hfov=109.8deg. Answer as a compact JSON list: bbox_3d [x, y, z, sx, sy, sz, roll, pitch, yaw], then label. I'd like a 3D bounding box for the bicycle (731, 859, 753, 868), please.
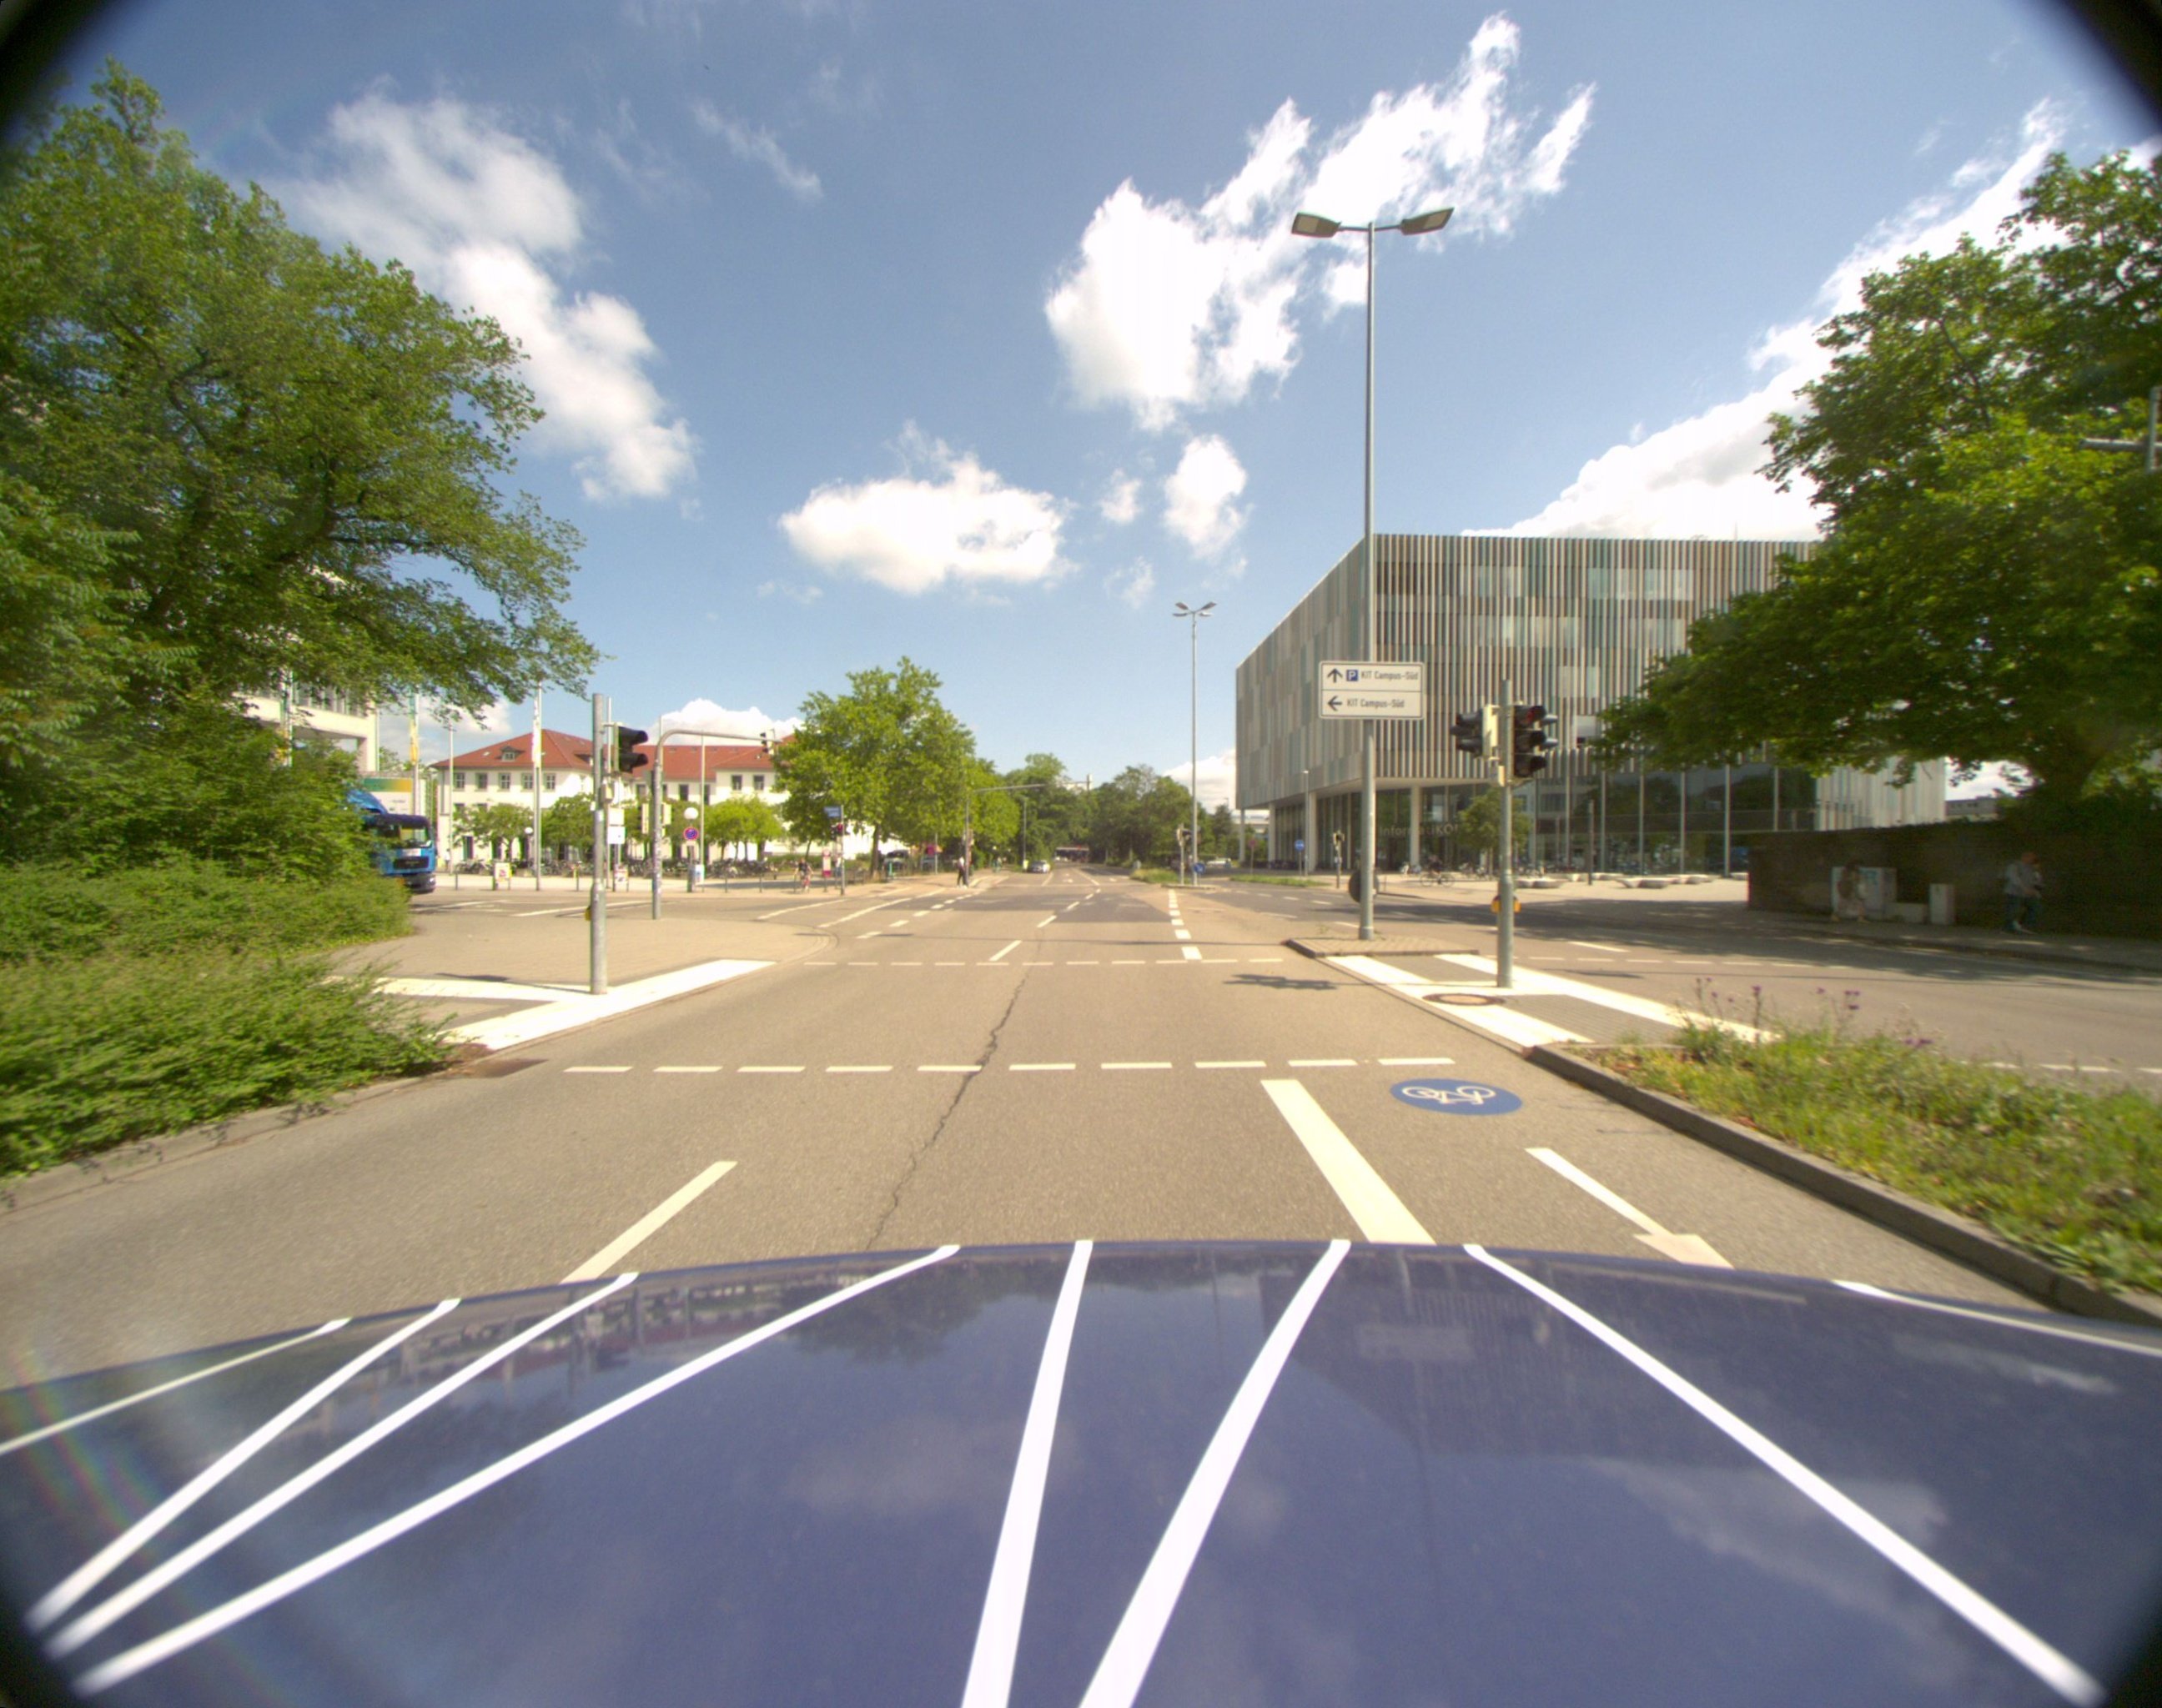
[{"bbox_3d":[-30.080,0.813,67.389,1.673,0.785,0.626,0,0,-6],"label":"bicycle"}]

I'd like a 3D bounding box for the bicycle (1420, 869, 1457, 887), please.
[{"bbox_3d":[19.332,1.290,41.106,1.770,0.887,0.639,0,0,33],"label":"bicycle"}]

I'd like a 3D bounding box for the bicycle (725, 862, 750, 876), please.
[{"bbox_3d":[-26.695,1.139,59.109,1.673,1.090,0.626,0,0,-6],"label":"bicycle"}]

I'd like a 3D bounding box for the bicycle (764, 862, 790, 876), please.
[{"bbox_3d":[-23.285,1.124,58.203,1.673,1.029,0.626,0,0,-6],"label":"bicycle"}]

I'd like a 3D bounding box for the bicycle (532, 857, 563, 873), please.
[{"bbox_3d":[-37.281,0.787,53.114,1.673,1.090,0.626,0,0,-6],"label":"bicycle"}]

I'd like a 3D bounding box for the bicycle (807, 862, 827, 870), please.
[{"bbox_3d":[-24.623,1.143,70.867,1.673,0.729,0.626,0,0,-6],"label":"bicycle"}]

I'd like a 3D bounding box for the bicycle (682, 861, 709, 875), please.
[{"bbox_3d":[-29.466,1.058,58.096,1.673,1.090,0.626,0,0,-6],"label":"bicycle"}]

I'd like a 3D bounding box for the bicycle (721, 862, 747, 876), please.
[{"bbox_3d":[-26.629,1.163,58.373,1.673,1.090,0.626,0,0,-6],"label":"bicycle"}]

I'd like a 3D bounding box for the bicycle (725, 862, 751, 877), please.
[{"bbox_3d":[-26.040,1.164,57.688,1.673,1.090,0.626,0,0,-6],"label":"bicycle"}]

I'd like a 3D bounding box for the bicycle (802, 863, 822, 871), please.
[{"bbox_3d":[-24.820,1.168,70.128,1.673,0.729,0.626,0,0,-6],"label":"bicycle"}]

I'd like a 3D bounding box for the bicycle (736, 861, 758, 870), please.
[{"bbox_3d":[-30.209,1.024,68.723,1.673,0.785,0.626,0,0,-6],"label":"bicycle"}]

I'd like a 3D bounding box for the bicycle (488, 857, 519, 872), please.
[{"bbox_3d":[-41.203,0.727,54.188,1.673,1.090,0.626,0,0,-6],"label":"bicycle"}]

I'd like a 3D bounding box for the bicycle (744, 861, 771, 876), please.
[{"bbox_3d":[-23.454,1.038,55.125,1.673,1.090,0.626,0,0,-6],"label":"bicycle"}]

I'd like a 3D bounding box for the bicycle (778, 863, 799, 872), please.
[{"bbox_3d":[-26.409,1.207,68.671,1.673,0.785,0.626,0,0,-7],"label":"bicycle"}]

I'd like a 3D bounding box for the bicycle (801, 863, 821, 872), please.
[{"bbox_3d":[-24.608,1.233,69.253,1.673,0.729,0.626,0,0,-6],"label":"bicycle"}]

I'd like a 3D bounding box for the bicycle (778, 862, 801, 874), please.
[{"bbox_3d":[-23.874,1.151,62.284,1.673,1.022,0.626,0,0,-6],"label":"bicycle"}]

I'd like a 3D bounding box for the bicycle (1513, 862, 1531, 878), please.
[{"bbox_3d":[31.090,1.112,53.508,0.745,1.131,2.323,0,0,39],"label":"bicycle"}]

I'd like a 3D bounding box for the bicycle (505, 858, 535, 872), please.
[{"bbox_3d":[-41.398,0.808,56.083,1.673,1.090,0.626,0,0,-6],"label":"bicycle"}]

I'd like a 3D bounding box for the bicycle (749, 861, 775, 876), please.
[{"bbox_3d":[-23.597,1.059,56.182,1.673,1.090,0.626,0,0,-6],"label":"bicycle"}]

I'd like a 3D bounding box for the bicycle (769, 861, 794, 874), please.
[{"bbox_3d":[-23.229,1.067,58.923,1.673,0.979,0.626,0,0,-6],"label":"bicycle"}]

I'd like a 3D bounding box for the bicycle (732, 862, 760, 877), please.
[{"bbox_3d":[-23.362,1.081,53.013,1.673,1.090,0.626,0,0,-6],"label":"bicycle"}]

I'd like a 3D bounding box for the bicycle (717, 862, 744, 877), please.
[{"bbox_3d":[-25.847,1.124,56.072,1.673,1.090,0.626,0,0,-6],"label":"bicycle"}]

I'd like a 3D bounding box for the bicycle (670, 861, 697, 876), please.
[{"bbox_3d":[-29.438,1.049,56.316,1.673,1.090,0.626,0,0,-6],"label":"bicycle"}]

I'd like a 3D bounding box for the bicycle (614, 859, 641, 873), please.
[{"bbox_3d":[-35.815,0.976,60.001,1.673,1.090,0.626,0,0,-6],"label":"bicycle"}]

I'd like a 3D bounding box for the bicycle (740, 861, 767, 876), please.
[{"bbox_3d":[-23.413,1.024,54.350,1.673,1.090,0.626,0,0,-6],"label":"bicycle"}]

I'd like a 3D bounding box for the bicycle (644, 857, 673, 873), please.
[{"bbox_3d":[-29.742,0.781,53.501,1.673,1.090,0.626,0,0,-6],"label":"bicycle"}]

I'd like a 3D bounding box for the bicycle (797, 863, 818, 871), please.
[{"bbox_3d":[-24.575,1.180,68.194,1.673,0.729,0.626,0,0,-6],"label":"bicycle"}]

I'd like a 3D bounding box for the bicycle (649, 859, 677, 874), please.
[{"bbox_3d":[-29.781,0.902,54.139,1.673,1.090,0.626,0,0,-6],"label":"bicycle"}]

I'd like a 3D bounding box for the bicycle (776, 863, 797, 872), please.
[{"bbox_3d":[-26.350,1.209,67.982,1.673,0.785,0.626,0,0,-7],"label":"bicycle"}]

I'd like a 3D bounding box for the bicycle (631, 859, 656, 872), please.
[{"bbox_3d":[-36.519,0.957,63.464,1.673,1.090,0.626,0,0,-6],"label":"bicycle"}]

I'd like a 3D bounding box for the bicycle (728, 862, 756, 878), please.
[{"bbox_3d":[-23.357,1.120,52.358,1.673,1.090,0.626,0,0,-6],"label":"bicycle"}]

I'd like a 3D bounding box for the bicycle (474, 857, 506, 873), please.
[{"bbox_3d":[-41.018,0.773,52.776,1.673,1.090,0.626,0,0,-6],"label":"bicycle"}]

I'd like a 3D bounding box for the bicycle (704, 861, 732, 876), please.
[{"bbox_3d":[-25.691,1.013,53.828,1.673,1.090,0.626,0,0,-6],"label":"bicycle"}]

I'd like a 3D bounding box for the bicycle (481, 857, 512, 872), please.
[{"bbox_3d":[-41.131,0.730,53.467,1.673,1.090,0.626,0,0,-6],"label":"bicycle"}]

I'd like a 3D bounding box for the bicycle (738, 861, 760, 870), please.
[{"bbox_3d":[-30.355,1.045,69.485,1.673,0.785,0.626,0,0,-6],"label":"bicycle"}]

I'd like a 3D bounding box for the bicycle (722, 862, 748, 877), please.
[{"bbox_3d":[-25.960,1.157,56.992,1.673,1.090,0.626,0,0,-6],"label":"bicycle"}]

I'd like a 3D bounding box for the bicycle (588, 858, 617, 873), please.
[{"bbox_3d":[-35.531,0.835,56.408,1.673,1.090,0.626,0,0,-6],"label":"bicycle"}]

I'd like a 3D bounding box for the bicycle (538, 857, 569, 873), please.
[{"bbox_3d":[-37.362,0.768,53.809,1.673,1.090,0.626,0,0,-6],"label":"bicycle"}]

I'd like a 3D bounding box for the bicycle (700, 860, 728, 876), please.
[{"bbox_3d":[-25.601,0.996,53.044,1.673,1.090,0.626,0,0,-6],"label":"bicycle"}]

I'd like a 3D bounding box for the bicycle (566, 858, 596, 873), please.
[{"bbox_3d":[-35.622,0.818,54.153,1.673,1.090,0.626,0,0,-6],"label":"bicycle"}]

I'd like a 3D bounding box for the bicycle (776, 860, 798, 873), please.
[{"bbox_3d":[-25.783,1.075,66.670,1.673,1.090,0.626,0,0,-6],"label":"bicycle"}]

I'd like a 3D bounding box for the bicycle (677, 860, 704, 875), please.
[{"bbox_3d":[-29.442,1.010,57.330,1.673,1.090,0.626,0,0,-6],"label":"bicycle"}]

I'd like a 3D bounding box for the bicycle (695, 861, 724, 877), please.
[{"bbox_3d":[-25.566,1.000,52.330,1.673,1.090,0.626,0,0,-6],"label":"bicycle"}]

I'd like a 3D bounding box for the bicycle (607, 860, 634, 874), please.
[{"bbox_3d":[-35.625,0.995,58.805,1.673,1.090,0.626,0,0,-6],"label":"bicycle"}]

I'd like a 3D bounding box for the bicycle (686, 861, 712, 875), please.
[{"bbox_3d":[-29.592,1.066,58.911,1.673,1.090,0.626,0,0,-6],"label":"bicycle"}]

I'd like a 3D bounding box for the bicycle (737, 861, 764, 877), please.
[{"bbox_3d":[-23.343,1.072,53.680,1.673,1.090,0.626,0,0,-6],"label":"bicycle"}]

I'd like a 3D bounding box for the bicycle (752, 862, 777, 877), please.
[{"bbox_3d":[-23.680,1.171,56.858,1.673,1.090,0.626,0,0,-6],"label":"bicycle"}]

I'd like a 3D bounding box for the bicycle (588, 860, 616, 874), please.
[{"bbox_3d":[-35.995,0.973,57.118,1.673,1.090,0.626,0,0,-6],"label":"bicycle"}]

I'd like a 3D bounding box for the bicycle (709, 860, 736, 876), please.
[{"bbox_3d":[-25.740,1.009,54.544,1.673,1.090,0.626,0,0,-6],"label":"bicycle"}]

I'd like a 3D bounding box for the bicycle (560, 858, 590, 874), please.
[{"bbox_3d":[-35.532,0.823,53.392,1.673,1.090,0.626,0,0,-6],"label":"bicycle"}]
